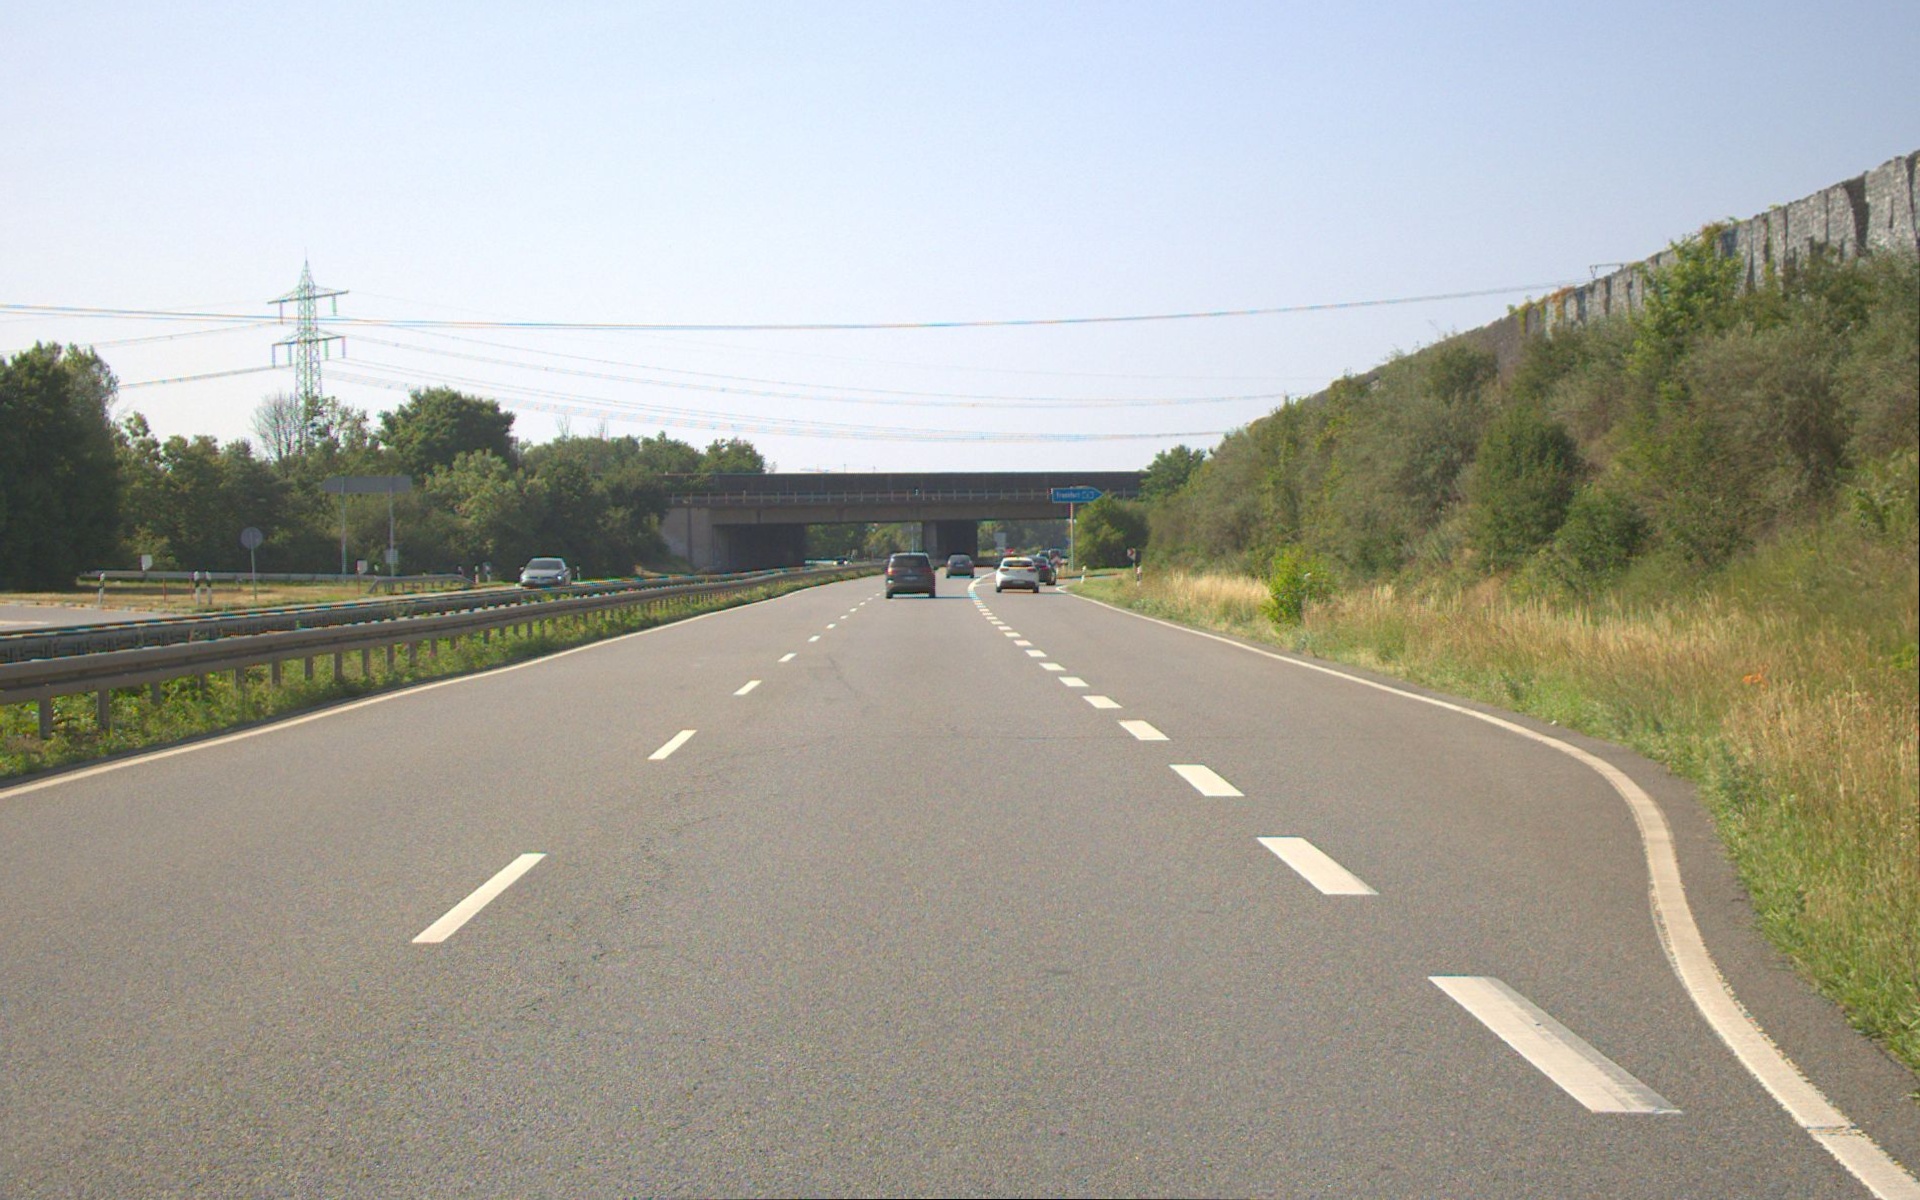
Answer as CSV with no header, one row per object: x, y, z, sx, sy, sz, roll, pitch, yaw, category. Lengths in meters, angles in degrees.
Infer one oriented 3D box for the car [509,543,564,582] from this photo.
-17.330,-1.541,140.914,1.700,1.480,4.620,2,1,-1,car

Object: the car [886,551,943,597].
-1.632,-0.955,124.122,1.850,1.639,4.000,0,1,2,car

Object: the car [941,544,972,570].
-0.199,-2.738,220.094,1.850,1.639,4.000,0,1,2,car

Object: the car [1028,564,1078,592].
4.727,-1.107,174.193,1.902,1.293,3.998,2,1,11,car

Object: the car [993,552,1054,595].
2.604,-1.081,140.359,1.797,1.659,3.998,2,1,11,car
